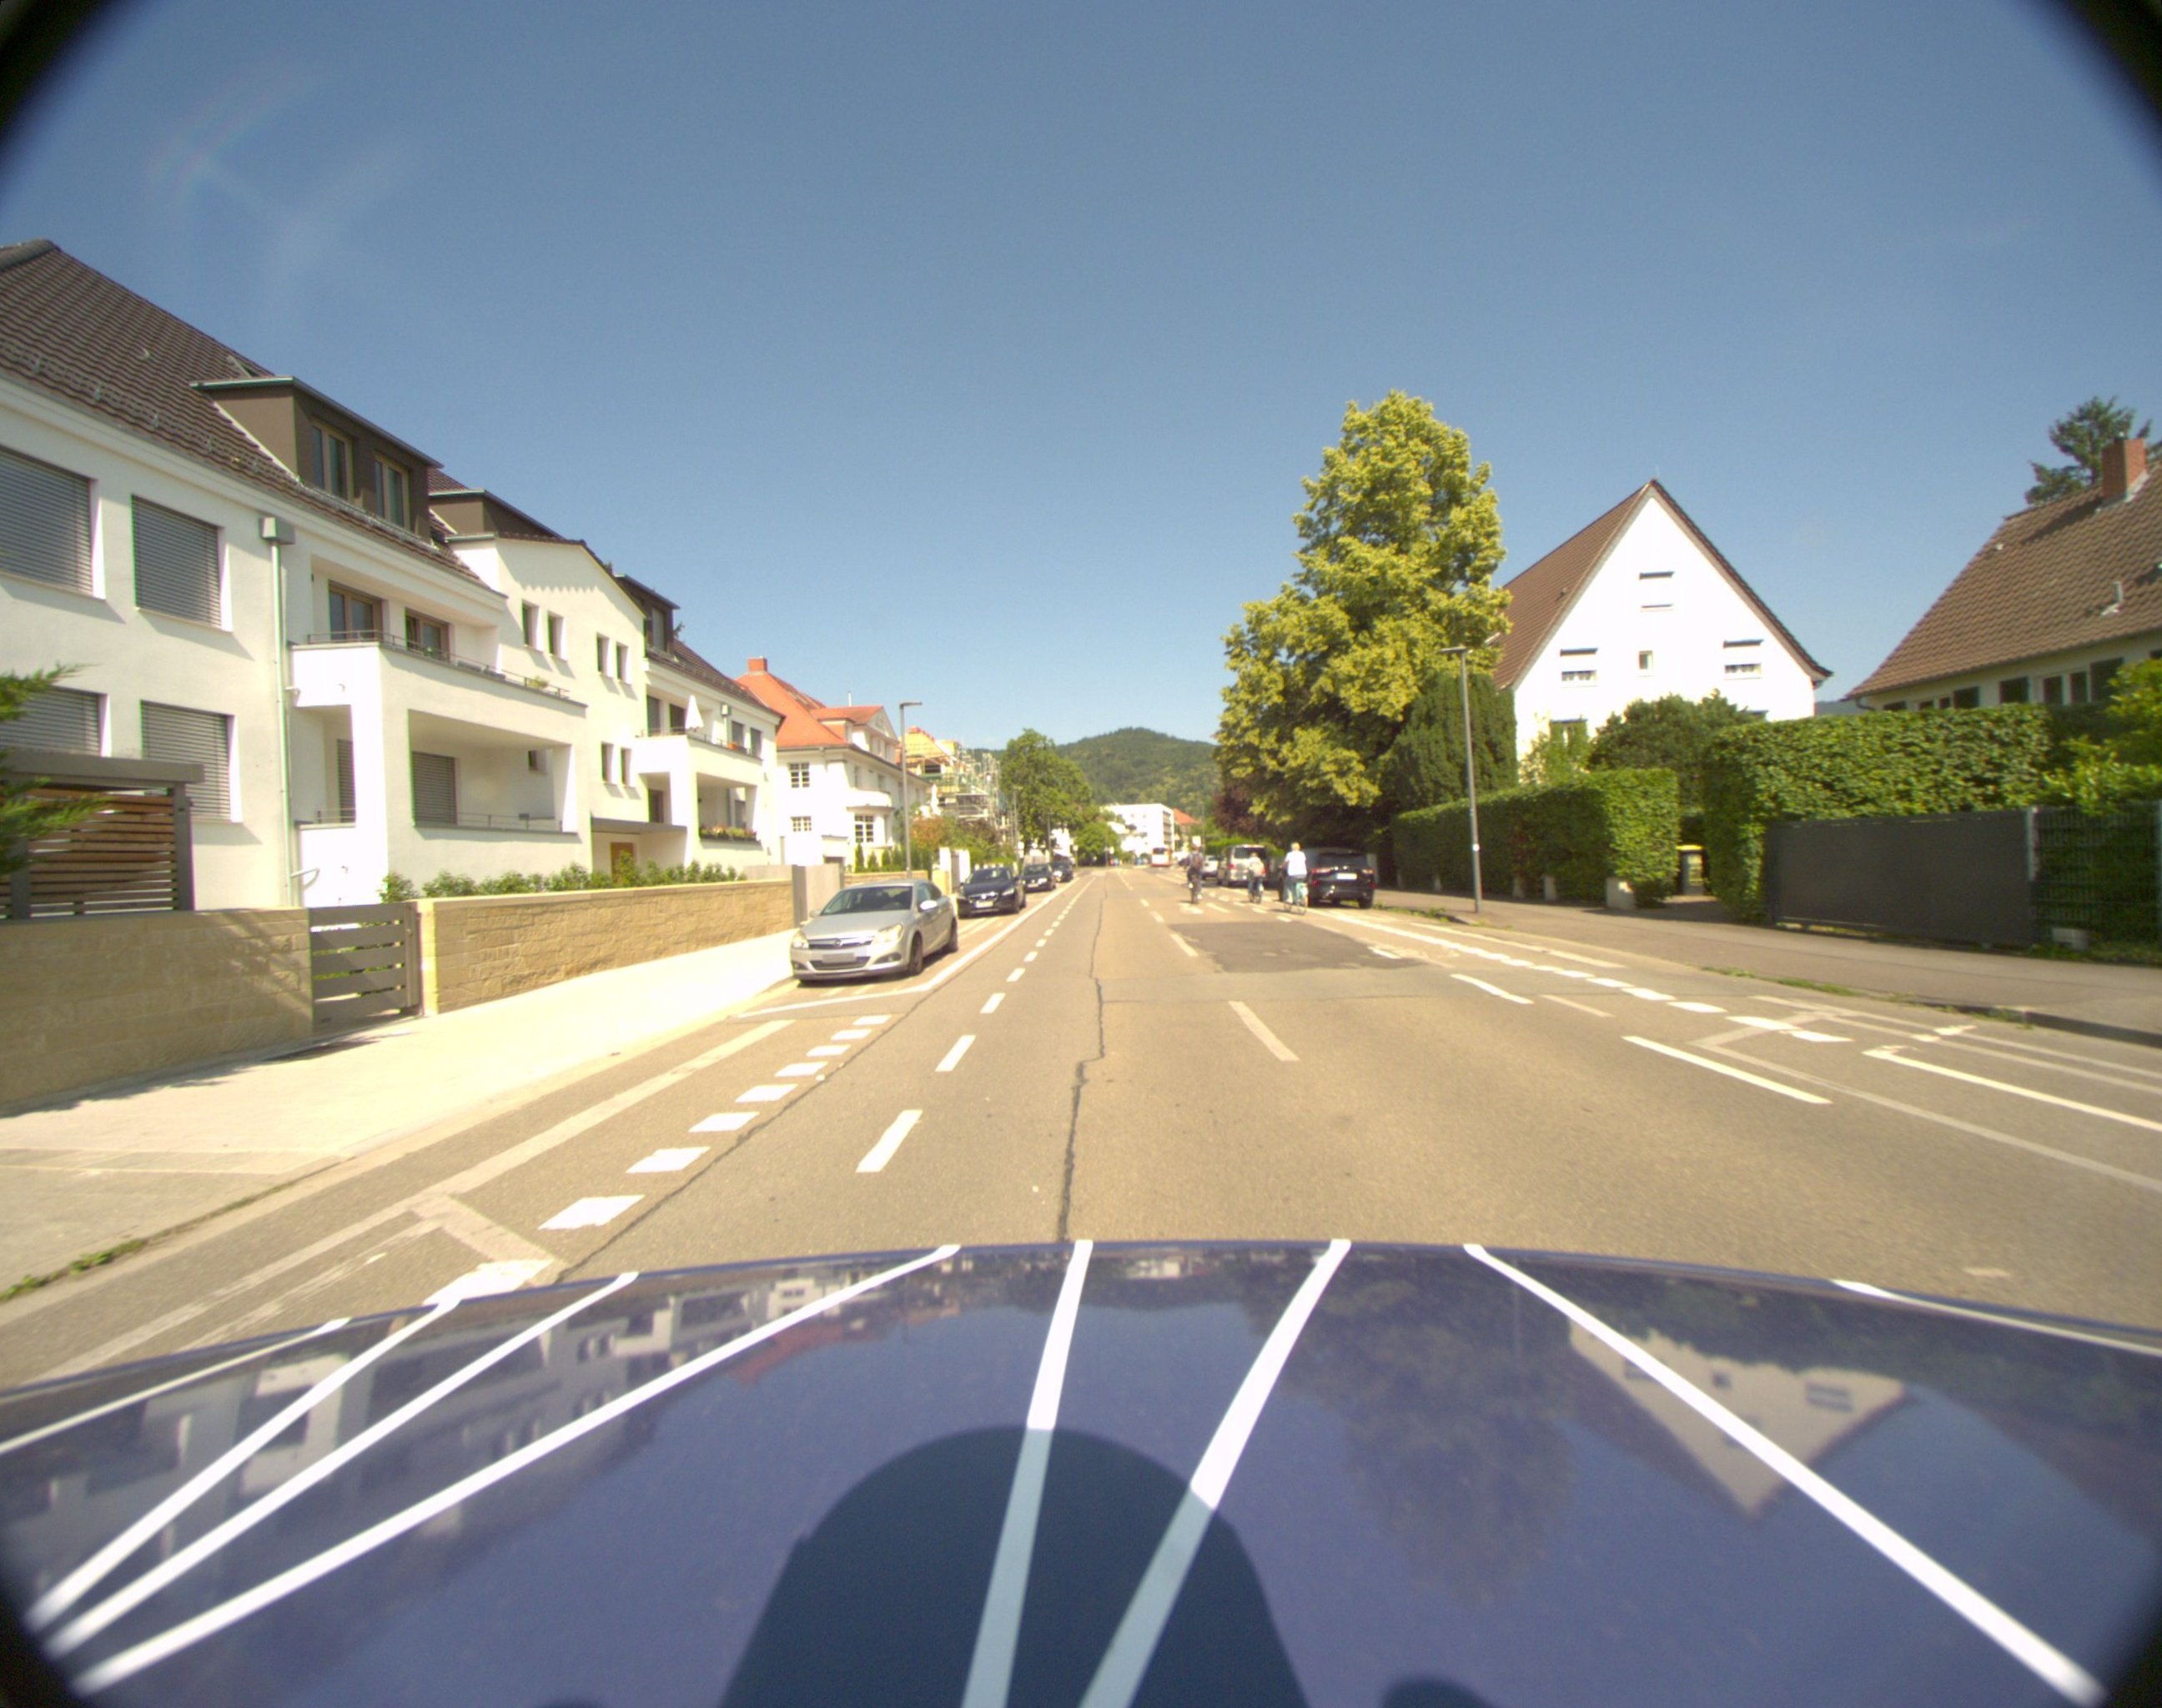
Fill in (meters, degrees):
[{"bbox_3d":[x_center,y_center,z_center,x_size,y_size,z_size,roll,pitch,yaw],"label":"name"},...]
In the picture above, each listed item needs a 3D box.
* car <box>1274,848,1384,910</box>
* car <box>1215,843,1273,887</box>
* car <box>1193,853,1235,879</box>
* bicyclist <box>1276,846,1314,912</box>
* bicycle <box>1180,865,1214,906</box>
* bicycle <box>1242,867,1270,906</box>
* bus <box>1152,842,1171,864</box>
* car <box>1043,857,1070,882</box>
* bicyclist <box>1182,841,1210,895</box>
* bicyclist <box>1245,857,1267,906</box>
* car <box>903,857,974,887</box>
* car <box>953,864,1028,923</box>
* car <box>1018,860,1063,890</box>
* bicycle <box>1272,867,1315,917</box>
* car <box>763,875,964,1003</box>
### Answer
[{"bbox_3d":[7.021,0.638,22.011,1.855,1.601,4.448,0,0,2],"label":"car"},{"bbox_3d":[7.491,0.499,35.409,1.889,1.908,4.869,0,0,3],"label":"car"},{"bbox_3d":[7.916,0.681,45.562,1.838,1.477,4.562,0,0,2],"label":"car"},{"bbox_3d":[5.229,0.591,18.582,0.677,1.571,0.859,1,1,2],"label":"bicyclist"},{"bbox_3d":[3.625,0.957,23.836,0.784,1.159,2.420,0,1,2],"label":"bicycle"},{"bbox_3d":[5.293,0.969,23.073,0.602,1.099,1.346,0,1,2],"label":"bicycle"},{"bbox_3d":[12.399,-0.109,116.614,2.751,3.156,9.782,0,0,6],"label":"bus"},{"bbox_3d":[-1.692,1.078,53.773,1.701,1.573,4.900,-3,0,-1],"label":"car"},{"bbox_3d":[3.584,0.426,23.644,0.751,1.658,1.022,0,1,2],"label":"bicyclist"},{"bbox_3d":[5.289,0.810,23.000,0.491,1.445,0.964,0,1,2],"label":"bicyclist"},{"bbox_3d":[-9.273,1.143,49.783,4.172,1.573,1.702,-5,0,2],"label":"car"},{"bbox_3d":[-2.717,1.144,23.701,1.726,1.440,4.168,-5,0,0],"label":"car"},{"bbox_3d":[-2.080,1.066,40.021,1.622,1.440,4.002,-2,0,7],"label":"car"},{"bbox_3d":[5.224,0.920,18.816,0.560,1.178,2.037,-1,-1,2],"label":"bicycle"},{"bbox_3d":[-3.135,1.165,11.894,1.741,1.321,4.076,-6,1,2],"label":"car"}]
